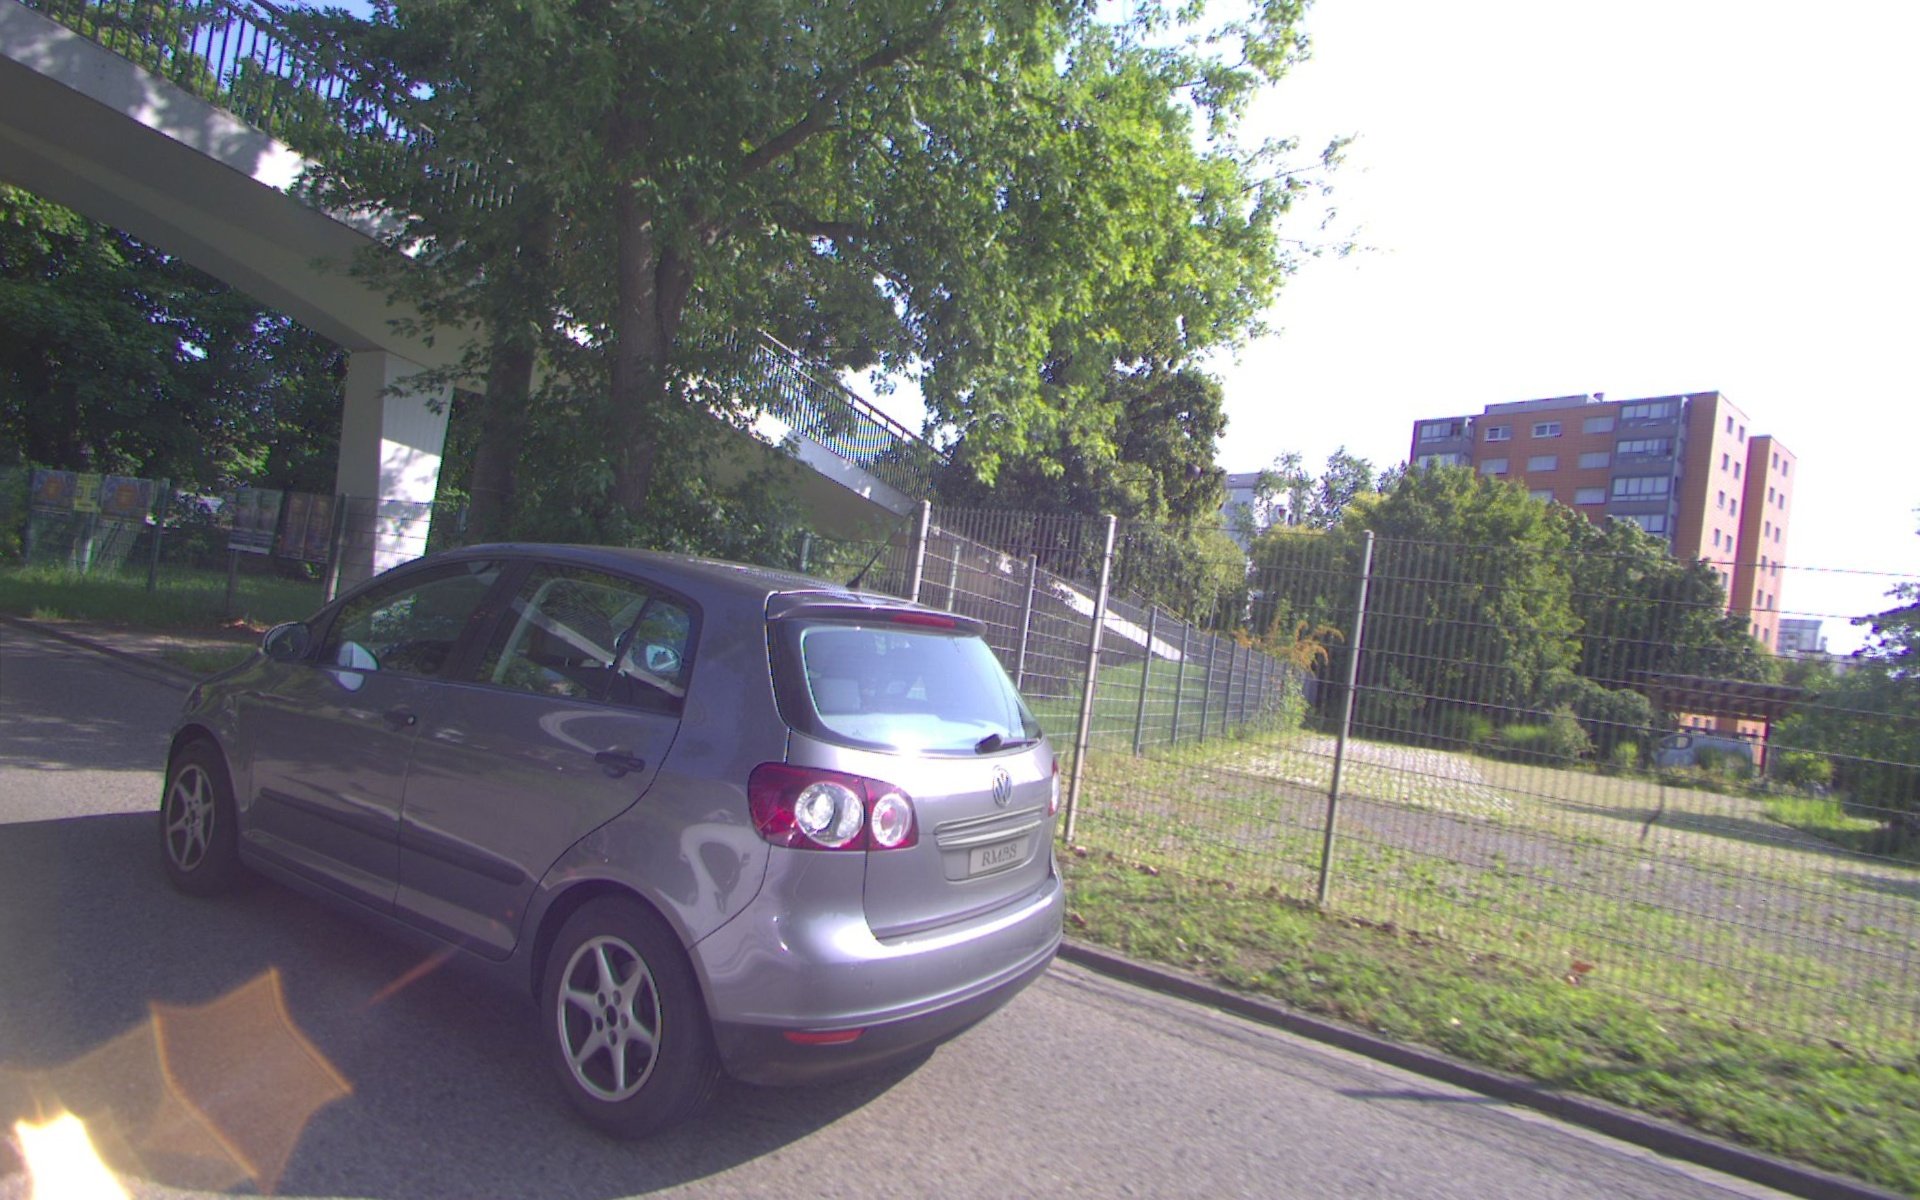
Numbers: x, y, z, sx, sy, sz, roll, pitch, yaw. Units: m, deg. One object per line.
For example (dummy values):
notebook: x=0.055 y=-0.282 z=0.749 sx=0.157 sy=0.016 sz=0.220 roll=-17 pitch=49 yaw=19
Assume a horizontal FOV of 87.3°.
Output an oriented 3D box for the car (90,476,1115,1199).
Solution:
car: x=-1.564 y=0.521 z=4.009 sx=3.834 sy=1.574 sz=1.649 roll=6 pitch=-3 yaw=31

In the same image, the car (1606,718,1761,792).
car: x=24.287 y=5.179 z=33.952 sx=3.934 sy=1.736 sz=1.744 roll=7 pitch=-2 yaw=32
